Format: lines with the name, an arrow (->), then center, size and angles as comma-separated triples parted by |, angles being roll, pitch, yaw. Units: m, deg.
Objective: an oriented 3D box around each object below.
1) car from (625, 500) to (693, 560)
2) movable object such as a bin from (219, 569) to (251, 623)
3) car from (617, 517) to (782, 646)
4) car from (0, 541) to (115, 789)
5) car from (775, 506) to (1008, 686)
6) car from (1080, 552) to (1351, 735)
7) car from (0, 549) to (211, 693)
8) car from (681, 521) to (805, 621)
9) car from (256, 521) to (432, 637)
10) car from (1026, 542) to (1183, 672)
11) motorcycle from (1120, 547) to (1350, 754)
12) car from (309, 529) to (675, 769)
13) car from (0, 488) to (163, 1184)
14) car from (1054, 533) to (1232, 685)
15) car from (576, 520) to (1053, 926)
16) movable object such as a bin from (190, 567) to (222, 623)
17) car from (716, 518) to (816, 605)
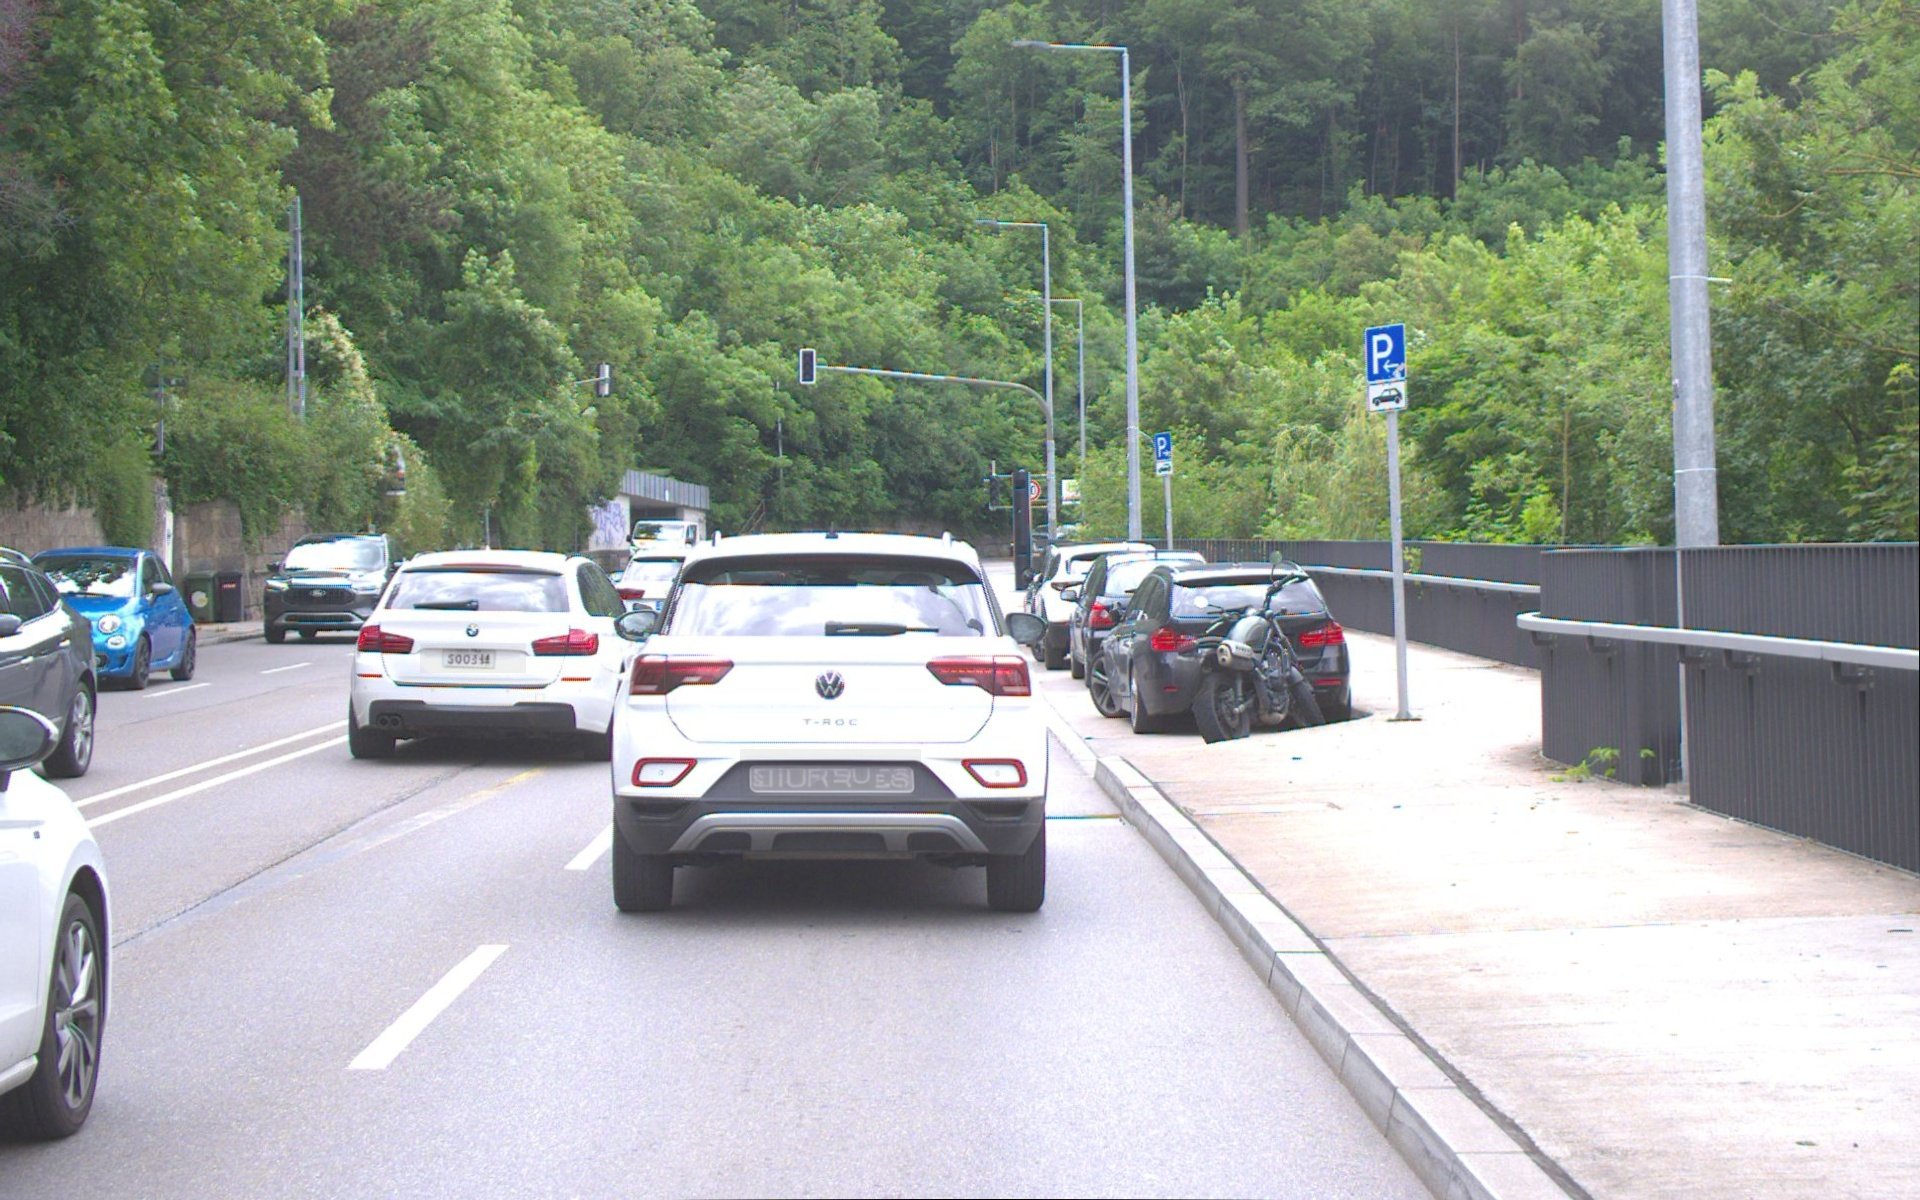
car -> -10.272, -2.395, 117.608 | 1.921, 1.998, 5.356 | 0, 1, 0
movable object such as a bin -> -12.822, -0.067, 60.786 | 0.479, 0.933, 0.366 | 2, 0, -5
car -> -3.437, -0.244, 45.973 | 1.862, 1.589, 4.000 | 2, 0, 0
car -> -6.505, 0.363, 20.478 | 1.856, 1.441, 4.296 | 1, 1, 0
car -> -0.702, -0.056, 38.586 | 1.994, 1.837, 4.149 | 2, 1, 7
car -> 2.129, 0.322, 29.773 | 1.823, 1.396, 4.320 | -2, 1, -2
car -> -9.168, 0.196, 36.615 | 1.583, 1.456, 3.523 | 0, 0, 0
car -> -3.918, -0.539, 62.669 | 1.993, 1.735, 4.000 | 1, 1, 0
car -> -9.400, -0.332, 52.763 | 1.815, 1.691, 4.470 | 1, 1, 1
car -> 1.821, 0.062, 44.592 | 1.726, 1.563, 4.624 | -1, 1, -1
motorcycle -> 2.087, 0.344, 25.701 | 0.771, 1.462, 2.501 | 1, 1, 28
car -> -3.301, 0.287, 25.150 | 1.993, 1.552, 4.681 | 1, 1, 0
car -> -2.979, 0.524, 7.147 | 1.720, 1.549, 4.276 | 1, 1, -1
car -> 2.028, 0.063, 39.165 | 1.659, 1.566, 4.256 | -3, 1, -1
car -> -0.531, 0.467, 15.211 | 1.813, 1.534, 4.008 | -1, 0, 1
movable object such as a bin -> -13.328, -0.093, 60.754 | 0.477, 0.968, 0.368 | 2, 0, -5
car -> -4.303, -0.865, 76.594 | 1.993, 1.858, 4.000 | 1, 1, 0
